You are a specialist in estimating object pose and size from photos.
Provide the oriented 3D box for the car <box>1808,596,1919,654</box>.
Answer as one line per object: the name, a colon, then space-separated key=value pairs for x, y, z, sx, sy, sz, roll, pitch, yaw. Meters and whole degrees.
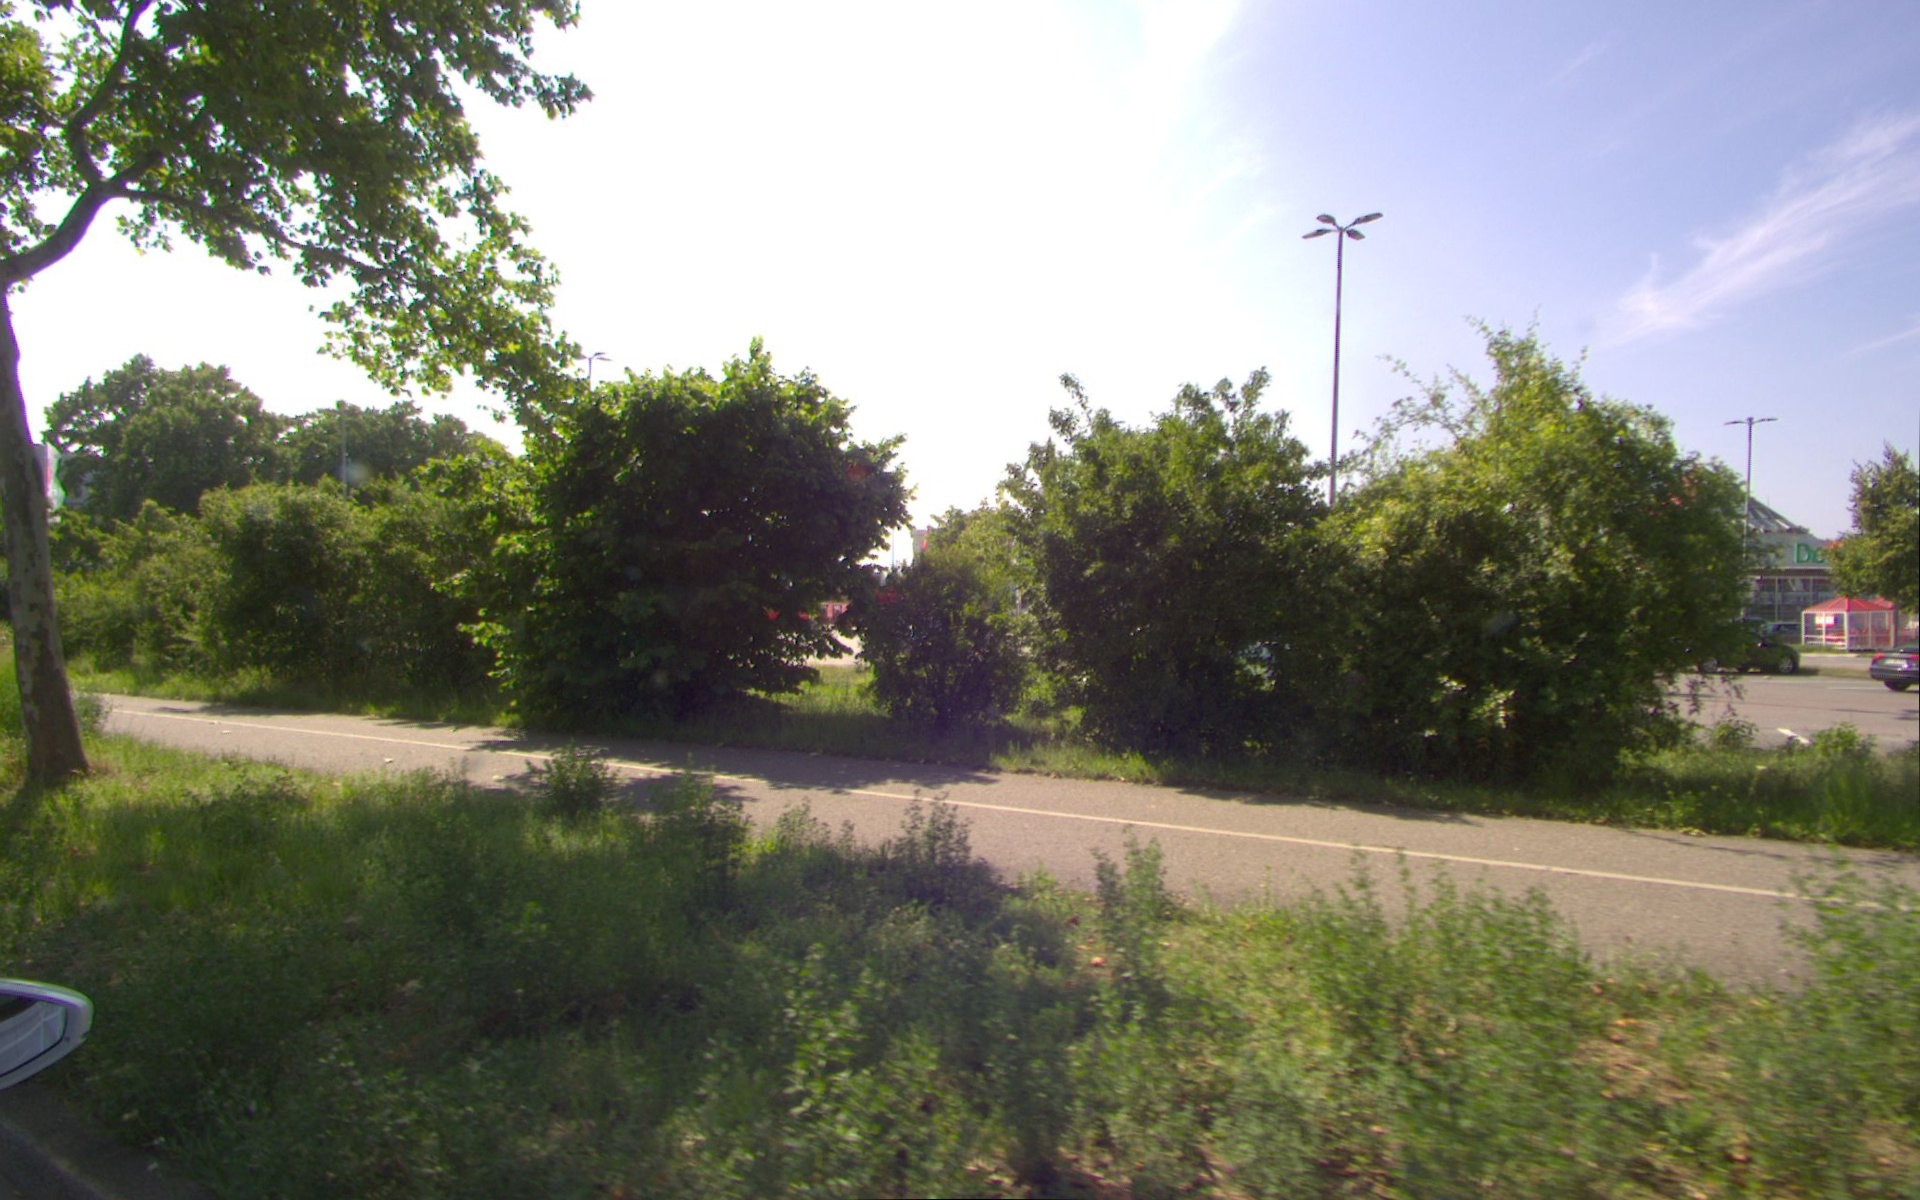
car: x=46.682 y=1.286 z=51.087 sx=5.182 sy=2.889 sz=2.307 roll=1 pitch=-1 yaw=-6

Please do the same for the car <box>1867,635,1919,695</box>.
car: x=24.428 y=1.558 z=24.086 sx=3.922 sy=1.371 sz=1.445 roll=0 pitch=-1 yaw=0

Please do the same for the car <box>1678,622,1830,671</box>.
car: x=25.056 y=1.477 z=31.646 sx=3.798 sy=1.460 sz=1.496 roll=1 pitch=-2 yaw=-6

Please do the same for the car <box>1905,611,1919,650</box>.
car: x=56.434 y=1.754 z=57.032 sx=3.511 sy=2.257 sz=2.004 roll=1 pitch=-1 yaw=-6

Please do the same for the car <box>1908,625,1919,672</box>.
car: x=46.023 y=2.255 z=46.096 sx=3.484 sy=2.191 sz=1.558 roll=1 pitch=-1 yaw=-6
